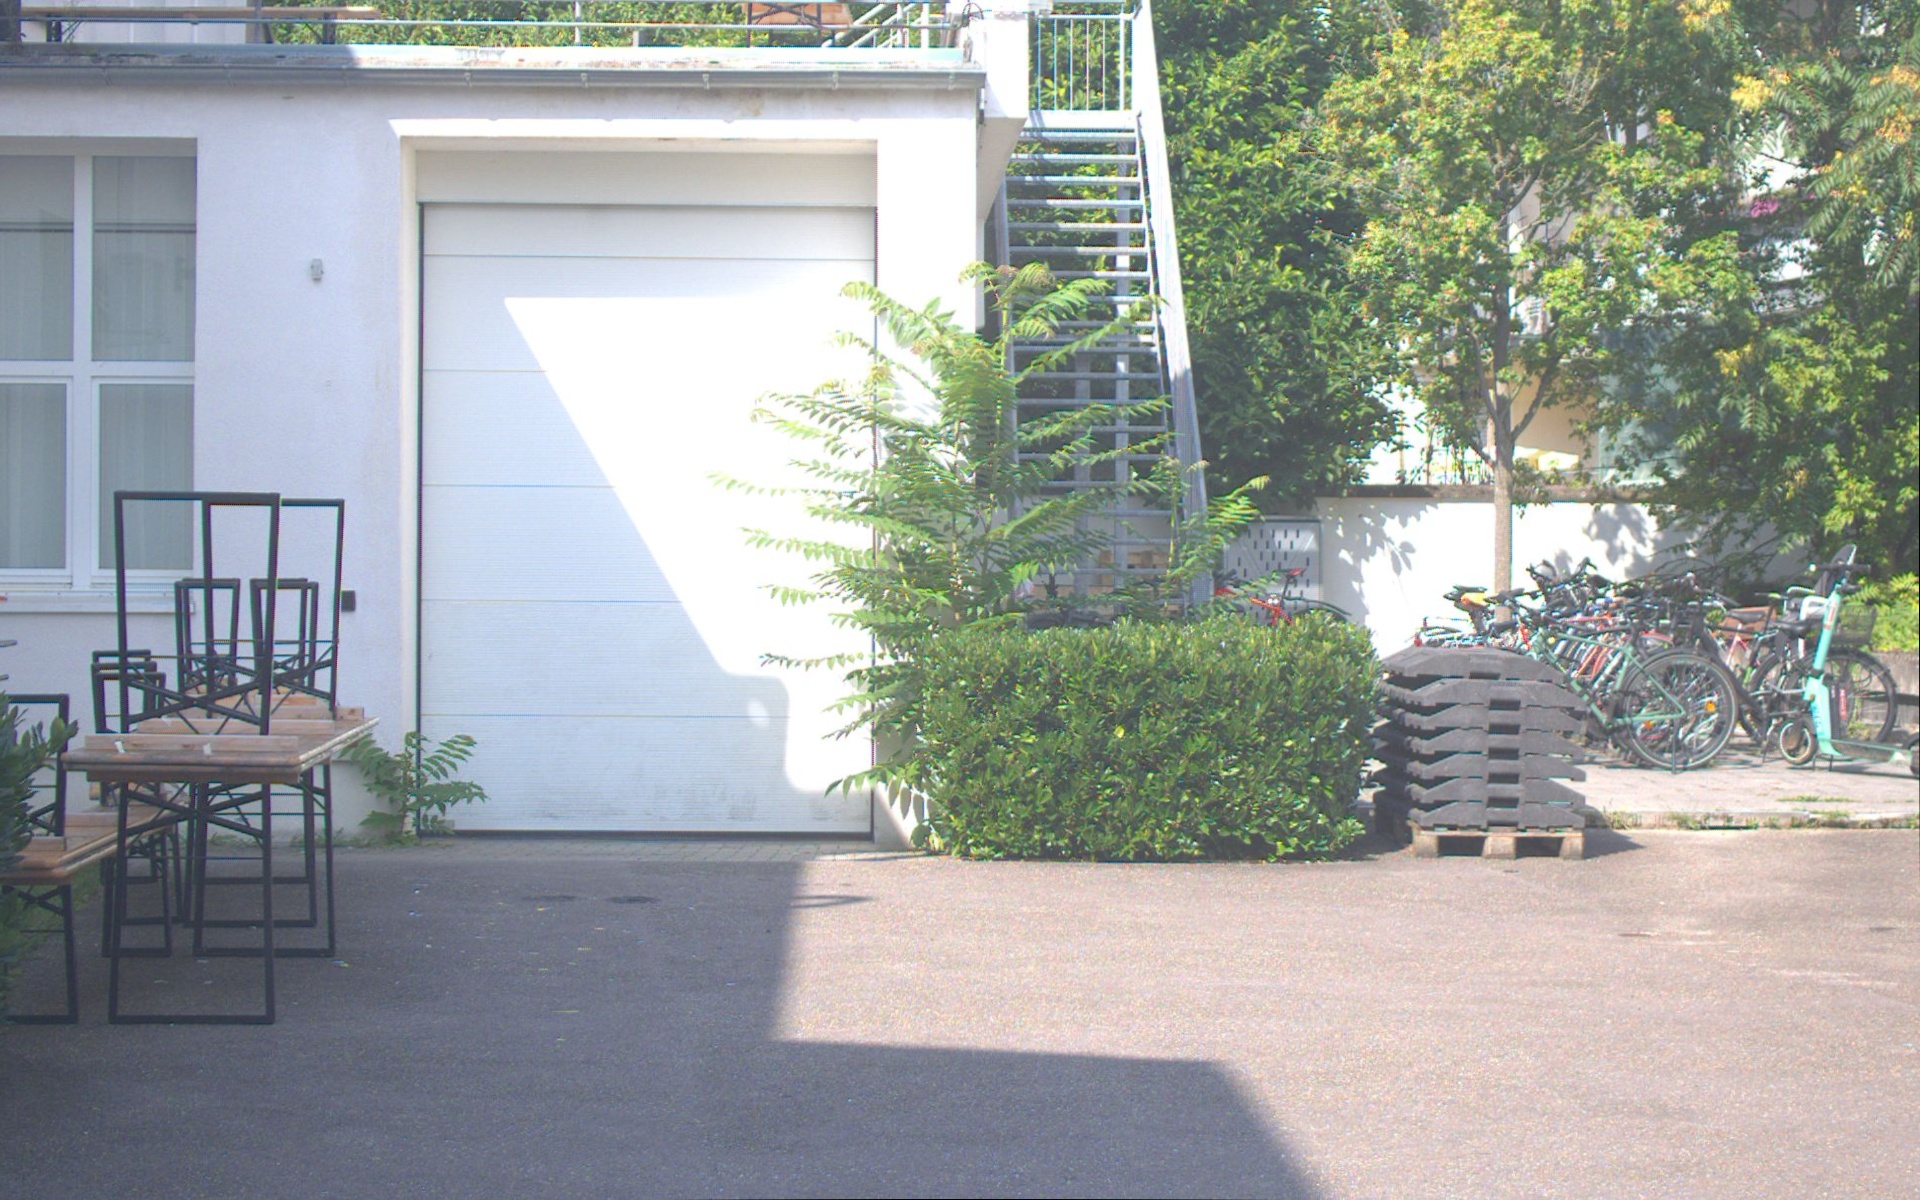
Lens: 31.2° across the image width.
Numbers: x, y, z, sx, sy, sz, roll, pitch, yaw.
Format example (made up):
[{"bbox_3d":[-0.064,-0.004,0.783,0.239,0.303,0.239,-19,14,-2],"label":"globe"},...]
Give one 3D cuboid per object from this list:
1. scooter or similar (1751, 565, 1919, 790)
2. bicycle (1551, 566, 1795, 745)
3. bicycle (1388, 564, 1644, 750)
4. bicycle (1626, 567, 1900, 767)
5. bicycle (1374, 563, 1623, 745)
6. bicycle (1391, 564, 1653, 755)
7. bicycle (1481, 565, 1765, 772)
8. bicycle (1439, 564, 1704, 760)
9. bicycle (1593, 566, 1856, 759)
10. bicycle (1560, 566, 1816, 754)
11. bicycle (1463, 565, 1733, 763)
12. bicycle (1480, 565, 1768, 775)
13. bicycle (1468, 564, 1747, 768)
[{"bbox_3d":[5.231,0.431,19.978,0.378,1.256,1.349,-1,1,-33],"label":"scooter or similar"},{"bbox_3d":[4.893,0.378,23.646,1.624,1.210,0.424,0,1,11],"label":"bicycle"},{"bbox_3d":[3.705,0.371,22.935,1.623,1.210,0.424,-1,1,-7],"label":"bicycle"},{"bbox_3d":[4.942,0.407,21.184,1.624,1.210,0.327,0,1,14],"label":"bicycle"},{"bbox_3d":[3.683,0.364,23.537,1.623,1.210,0.424,-1,1,-6],"label":"bicycle"},{"bbox_3d":[3.639,0.377,22.299,1.623,1.210,0.424,0,1,-2],"label":"bicycle"},{"bbox_3d":[3.949,0.402,20.519,1.623,1.210,0.327,0,1,0],"label":"bicycle"},{"bbox_3d":[3.846,0.387,21.626,1.624,1.210,0.327,0,1,12],"label":"bicycle"},{"bbox_3d":[4.893,0.397,22.044,1.624,1.210,0.424,0,1,12],"label":"bicycle"},{"bbox_3d":[4.780,0.389,22.618,1.624,1.210,0.424,0,1,11],"label":"bicycle"},{"bbox_3d":[3.935,0.393,21.263,1.623,1.210,0.327,0,1,9],"label":"bicycle"},{"bbox_3d":[3.892,0.405,20.196,1.623,1.210,0.327,0,1,0],"label":"bicycle"},{"bbox_3d":[3.912,0.398,20.812,1.623,1.210,0.327,0,1,0],"label":"bicycle"}]
